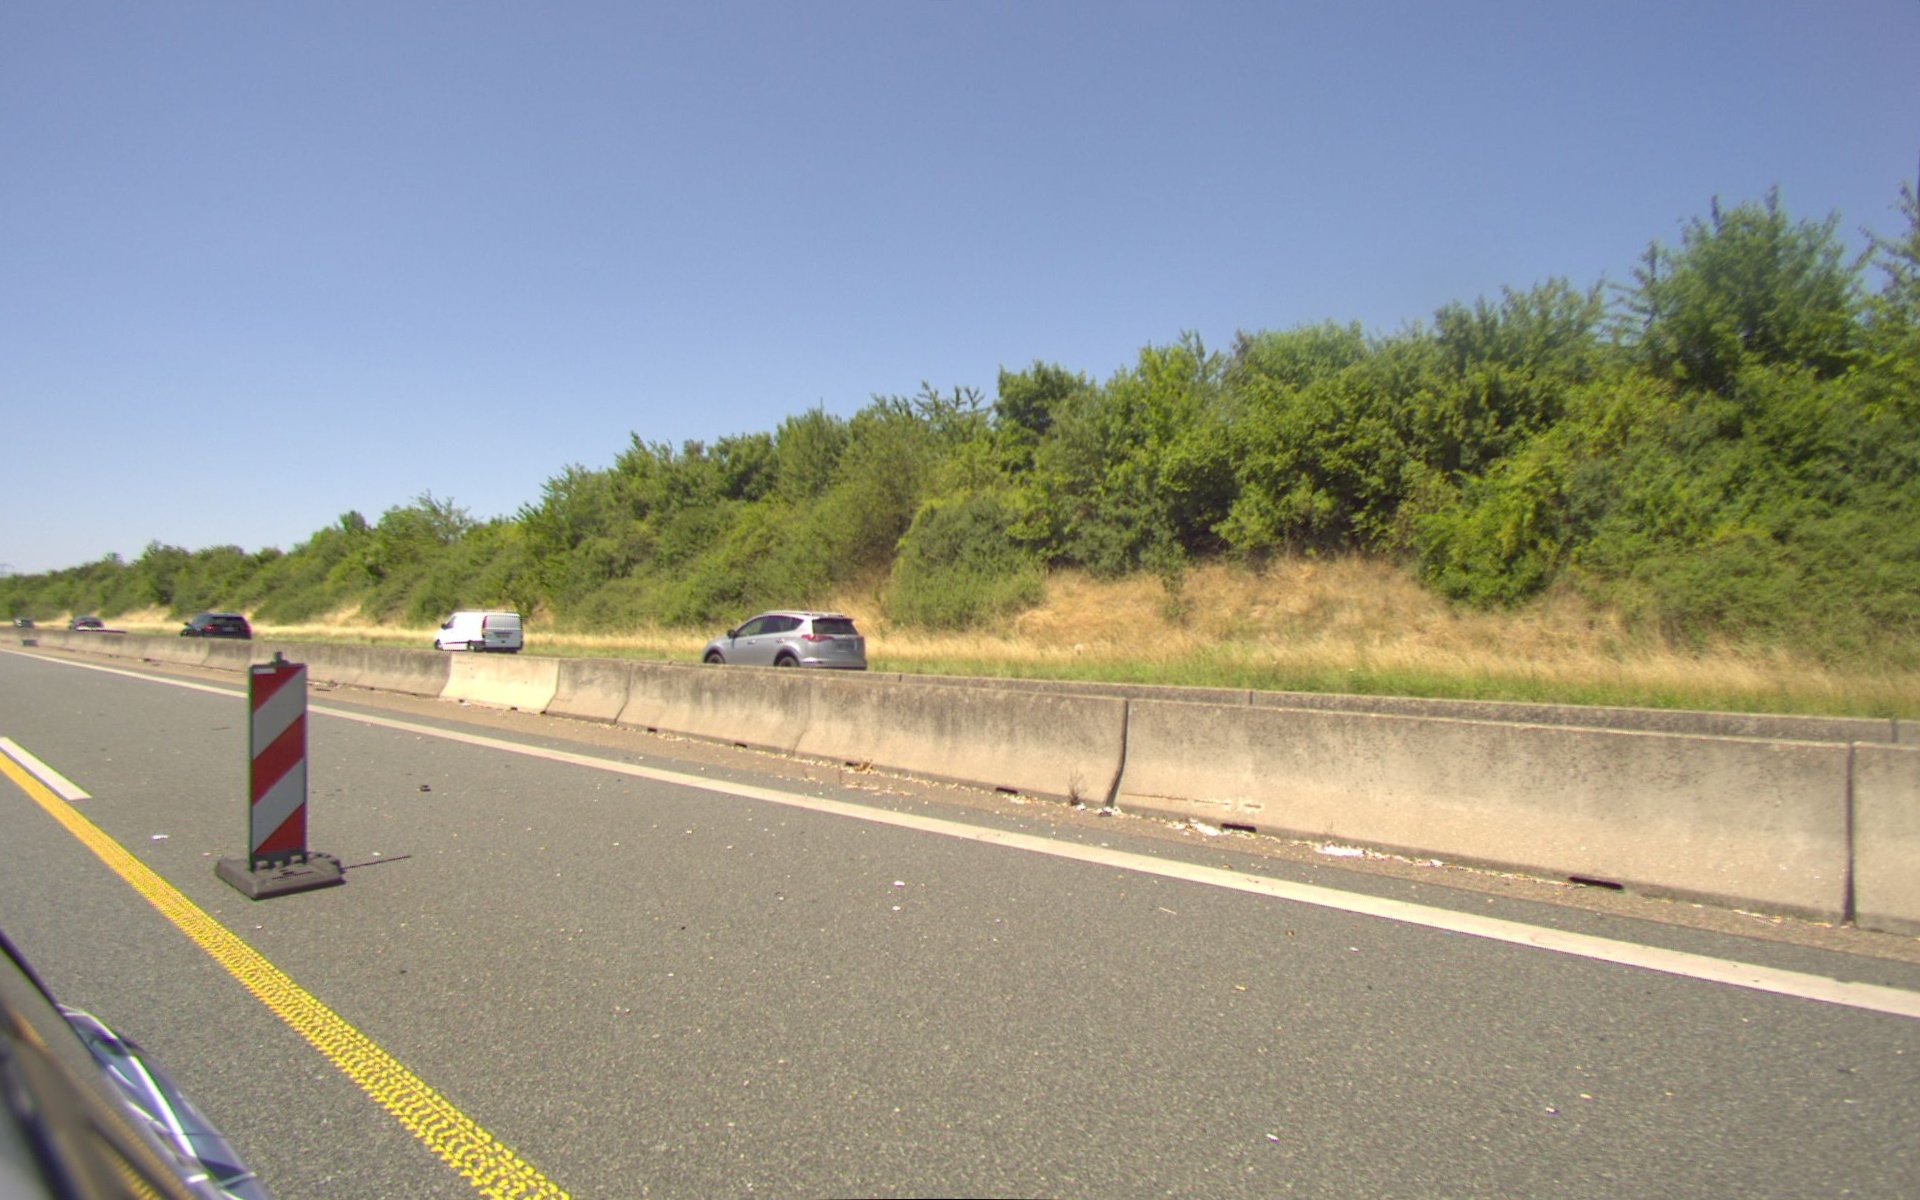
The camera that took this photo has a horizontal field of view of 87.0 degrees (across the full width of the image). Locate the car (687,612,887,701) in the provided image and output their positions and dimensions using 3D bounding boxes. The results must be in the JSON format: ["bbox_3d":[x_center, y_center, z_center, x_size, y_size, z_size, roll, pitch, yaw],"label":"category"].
[{"bbox_3d":[-3.978,1.200,22.812,4.620,1.796,1.973,-1,-2,41],"label":"car"}]

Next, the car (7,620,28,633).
[{"bbox_3d":[-118.989,3.355,127.791,3.998,1.560,1.484,-1,-2,41],"label":"car"}]

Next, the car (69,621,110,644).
[{"bbox_3d":[-71.723,2.663,83.355,4.563,1.767,1.893,-1,0,41],"label":"car"}]

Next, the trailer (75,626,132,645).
[{"bbox_3d":[-67.249,2.750,79.418,7.213,1.354,2.331,-1,-2,41],"label":"trailer"}]

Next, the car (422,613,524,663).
[{"bbox_3d":[-20.923,1.612,43.375,5.593,2.029,1.910,-1,-2,41],"label":"car"}]

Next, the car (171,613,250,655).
[{"bbox_3d":[-32.203,1.447,43.457,4.497,1.707,1.852,-1,-2,42],"label":"car"}]
